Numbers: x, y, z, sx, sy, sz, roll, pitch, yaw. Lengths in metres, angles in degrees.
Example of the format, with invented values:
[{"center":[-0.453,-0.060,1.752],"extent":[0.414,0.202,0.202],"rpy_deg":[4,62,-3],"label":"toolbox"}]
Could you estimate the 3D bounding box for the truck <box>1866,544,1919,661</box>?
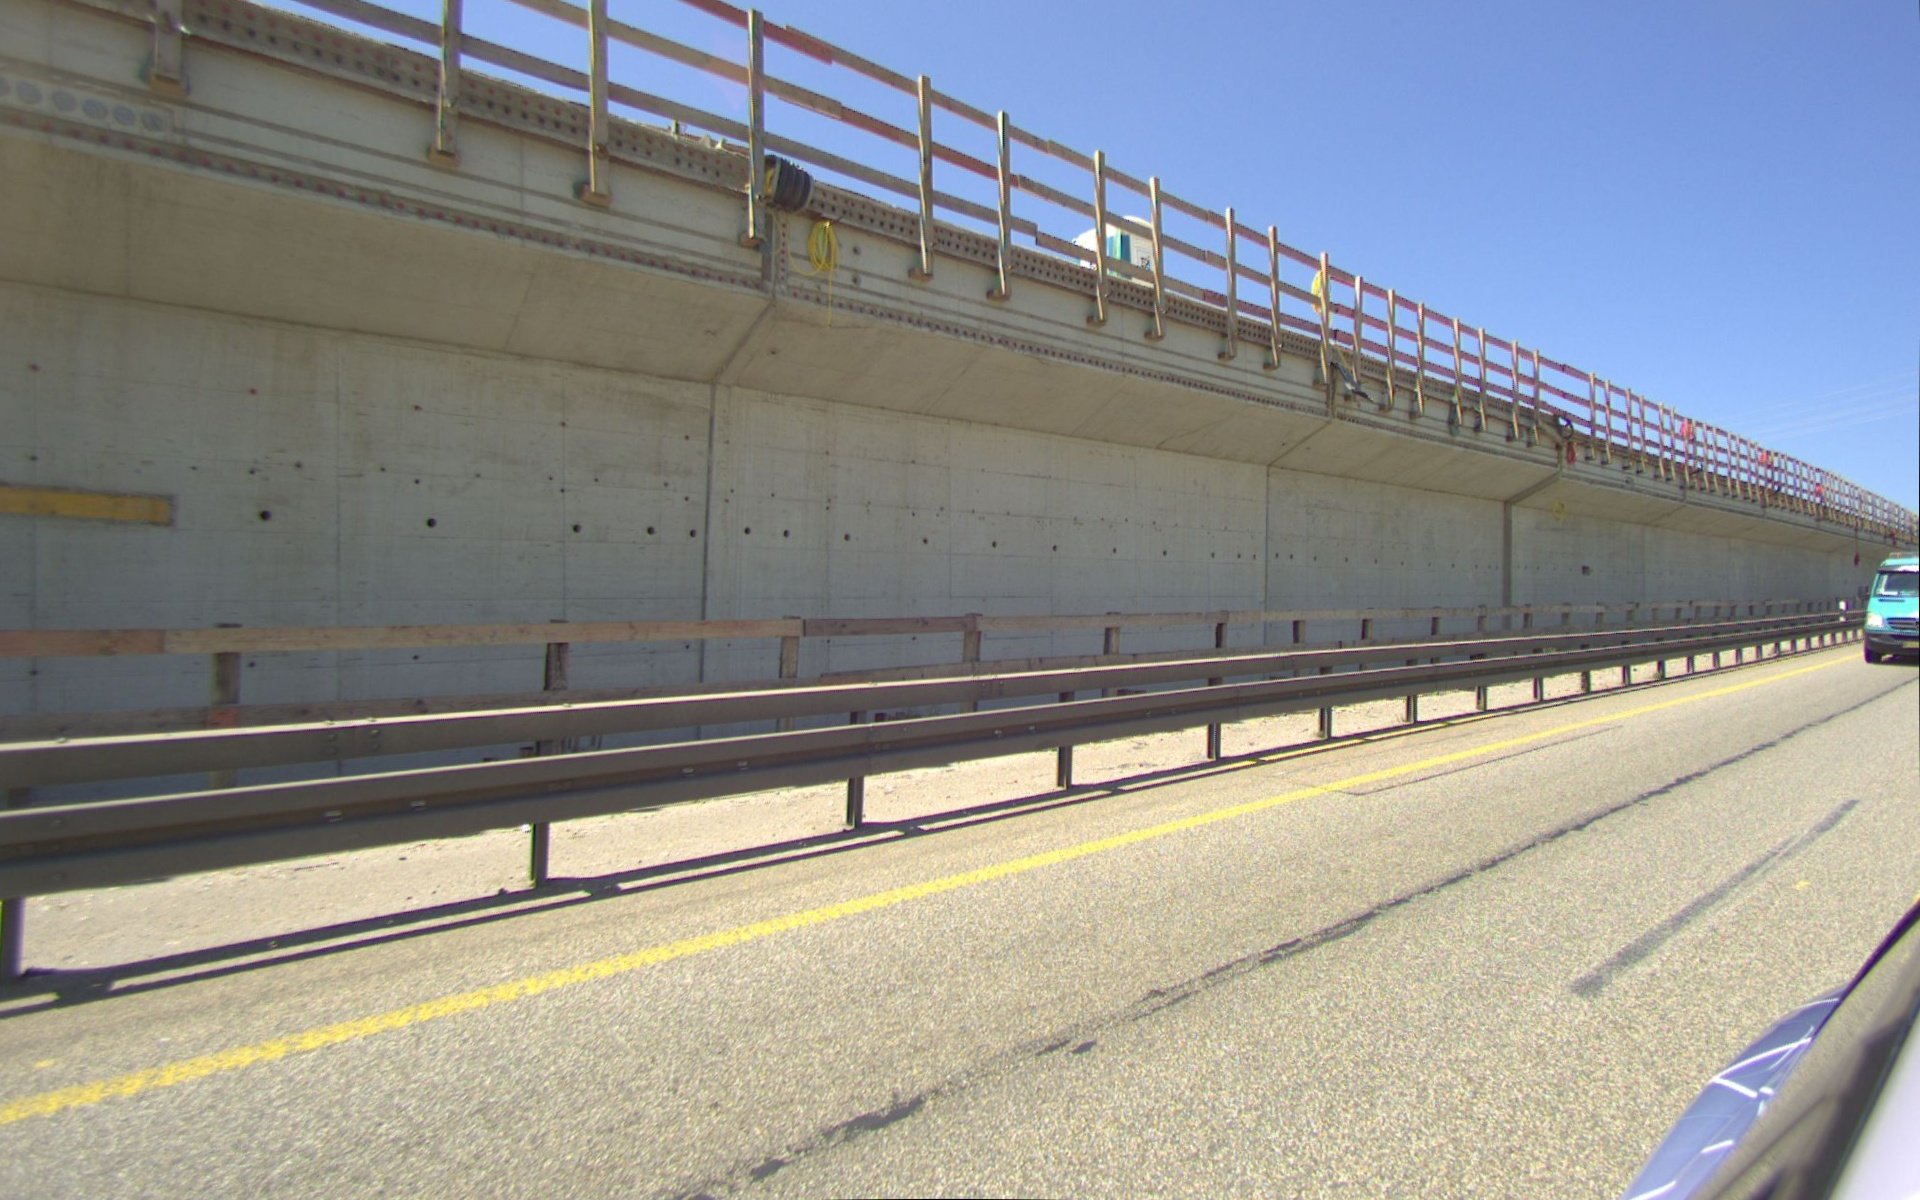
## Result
[{"center":[22.578,-0.018,22.918],"extent":[7.303,2.386,2.138],"rpy_deg":[-2,1,-41],"label":"truck"}]
